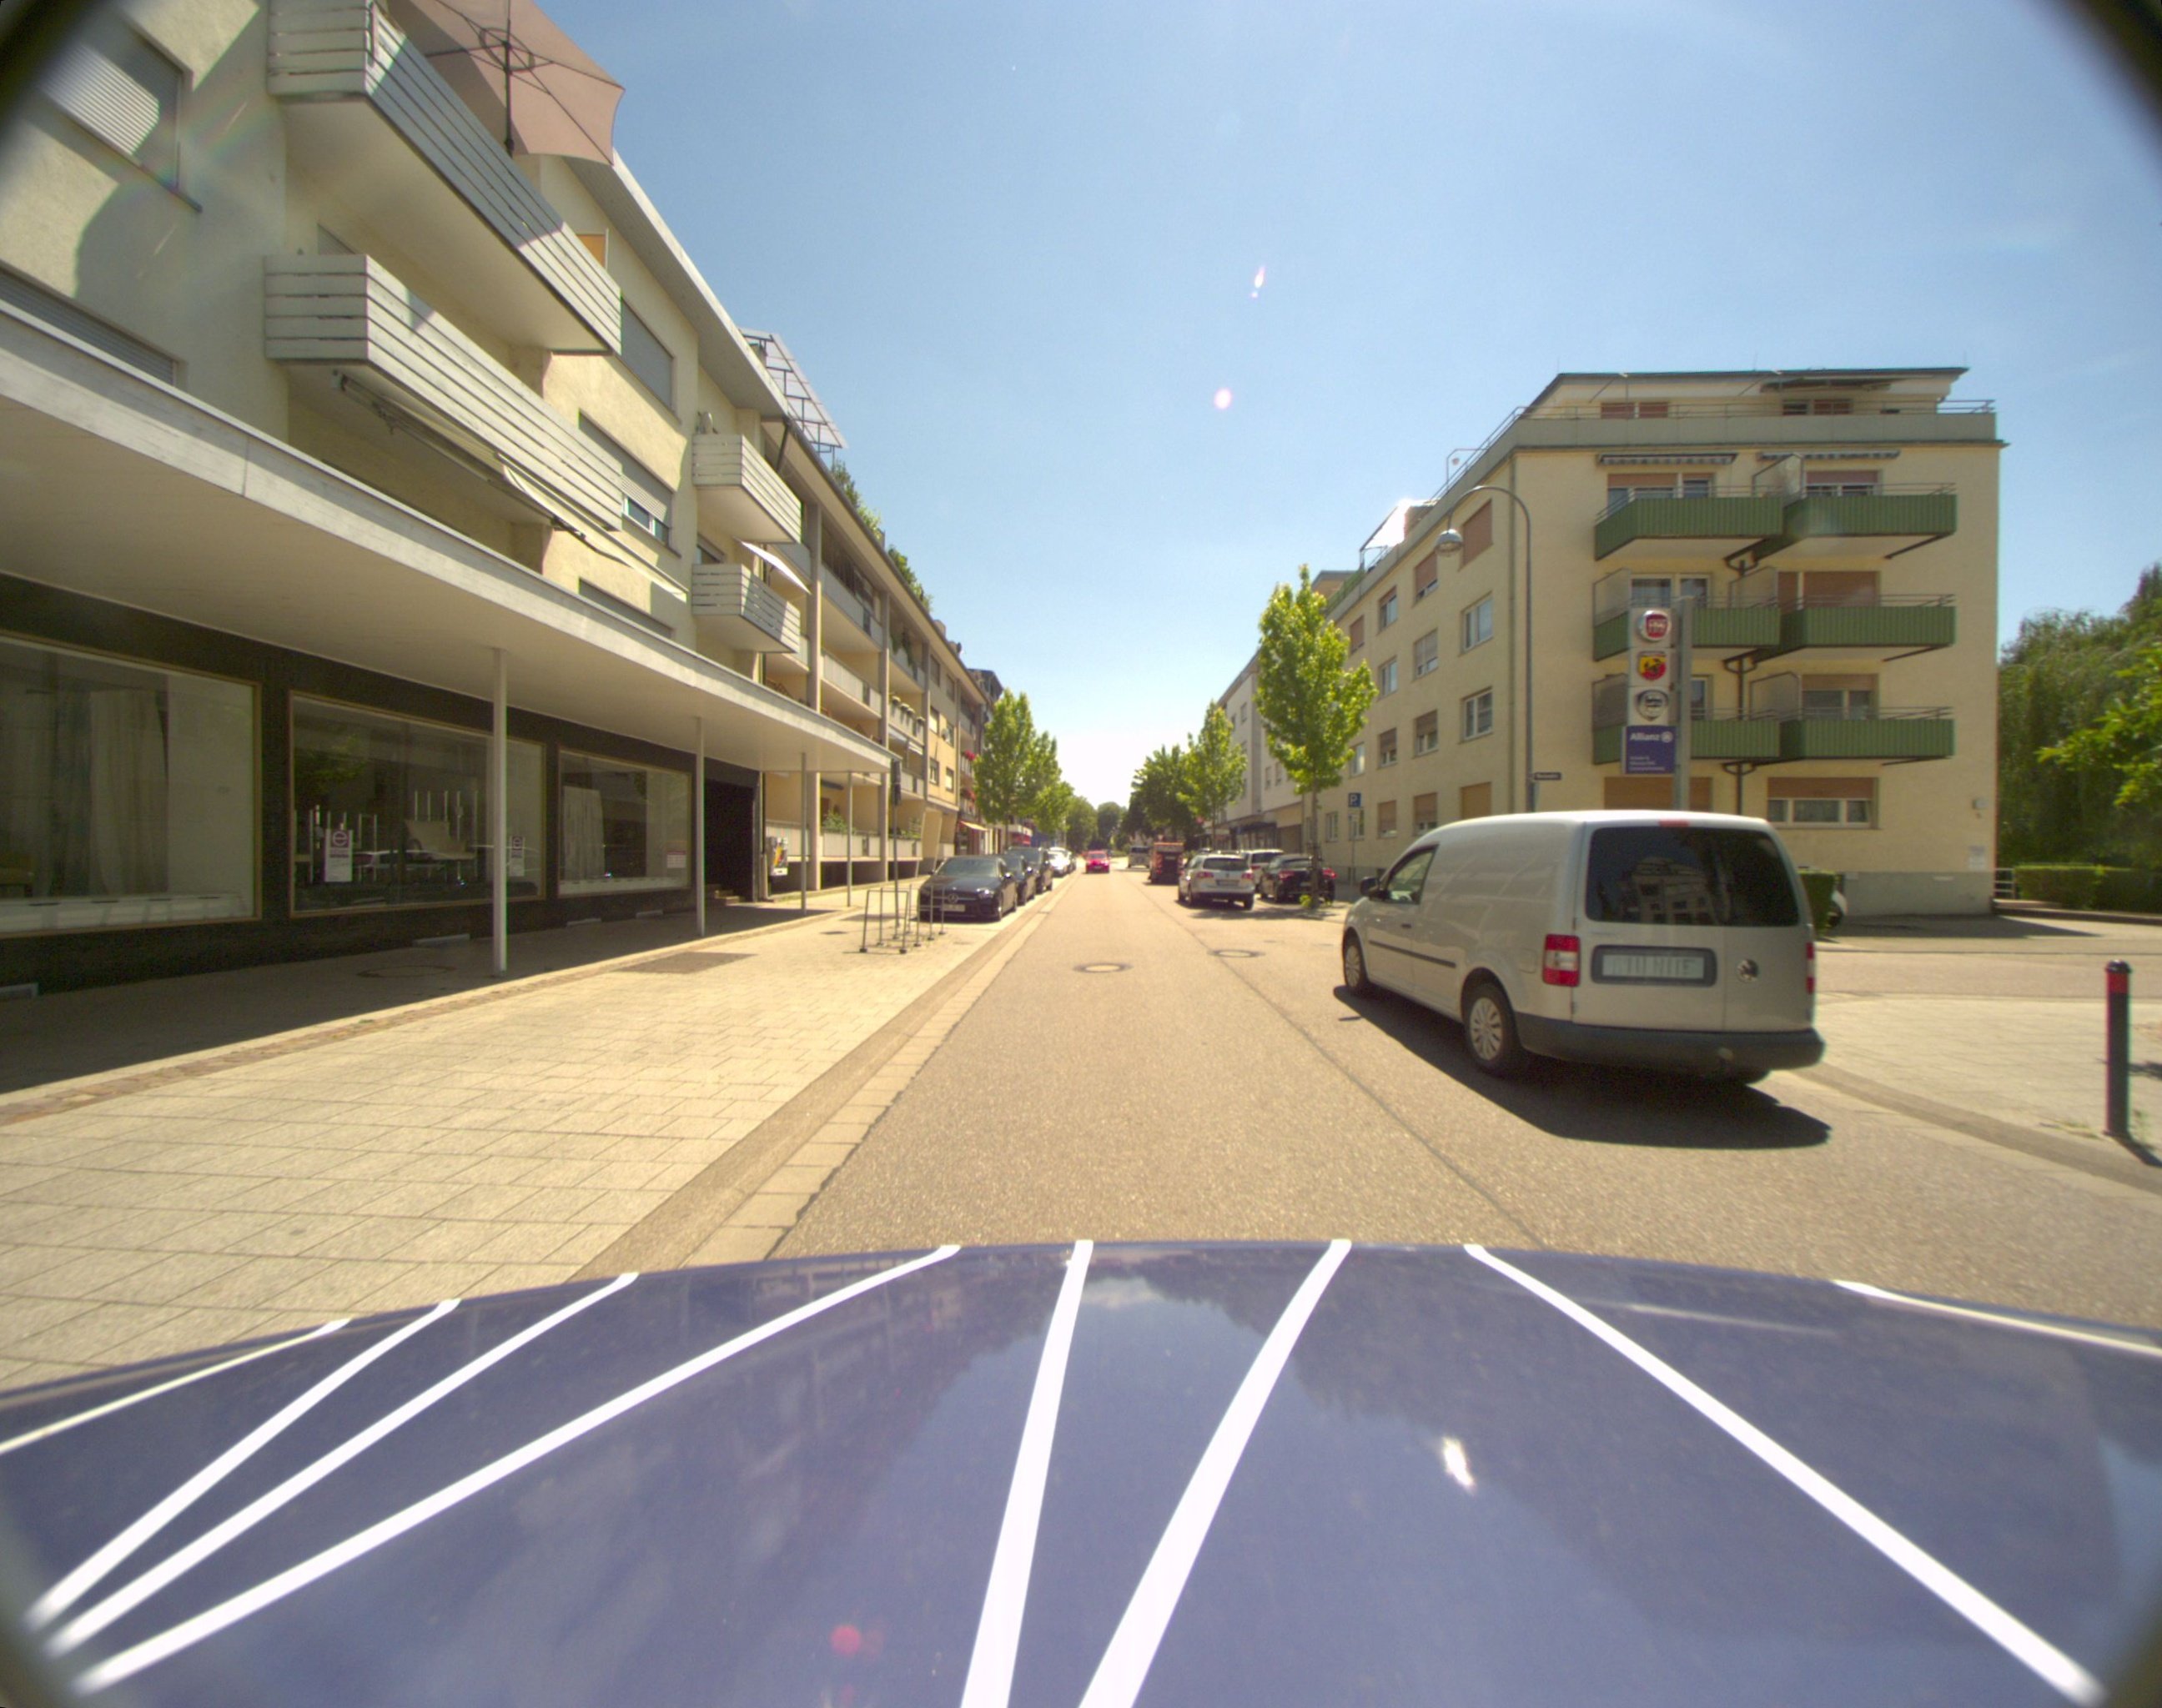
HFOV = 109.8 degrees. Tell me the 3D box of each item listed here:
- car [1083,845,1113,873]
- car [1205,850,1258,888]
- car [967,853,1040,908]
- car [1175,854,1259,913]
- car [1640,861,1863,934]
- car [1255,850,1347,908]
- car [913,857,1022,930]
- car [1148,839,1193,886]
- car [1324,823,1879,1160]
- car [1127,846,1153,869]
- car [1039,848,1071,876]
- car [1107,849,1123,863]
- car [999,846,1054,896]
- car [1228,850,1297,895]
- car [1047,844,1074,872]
[{"bbox_3d":[1.233,0.333,54.229,2.000,1.880,4.294,-1,0,1],"label":"car"},{"bbox_3d":[7.102,0.653,36.221,1.731,1.661,4.294,-1,0,1],"label":"car"},{"bbox_3d":[-2.288,0.743,23.429,1.731,1.499,4.115,1,0,1],"label":"car"},{"bbox_3d":[3.905,0.789,22.435,1.731,1.500,4.294,2,1,1],"label":"car"},{"bbox_3d":[15.708,0.946,18.093,1.751,1.499,3.748,0,0,-7],"label":"car"},{"bbox_3d":[6.865,0.713,24.172,1.731,1.661,4.294,-1,0,1],"label":"car"},{"bbox_3d":[-2.511,0.820,17.766,1.818,1.379,4.115,3,1,1],"label":"car"},{"bbox_3d":[4.422,0.388,38.019,1.731,2.154,4.294,2,1,1],"label":"car"},{"bbox_3d":[3.546,0.747,6.316,1.706,1.815,4.231,2,1,1],"label":"car"},{"bbox_3d":[5.102,0.275,66.303,2.000,1.880,4.294,2,1,1],"label":"car"},{"bbox_3d":[-1.579,0.447,47.431,1.731,1.680,4.115,1,1,1],"label":"car"},{"bbox_3d":[3.714,0.211,83.538,1.698,1.594,3.812,0,0,1],"label":"car"},{"bbox_3d":[-2.021,0.586,29.054,1.731,1.752,4.115,1,1,1],"label":"car"},{"bbox_3d":[7.215,0.666,30.591,1.731,1.661,4.293,-1,0,0],"label":"car"},{"bbox_3d":[-1.395,0.264,53.002,1.731,1.861,4.115,1,1,1],"label":"car"}]
